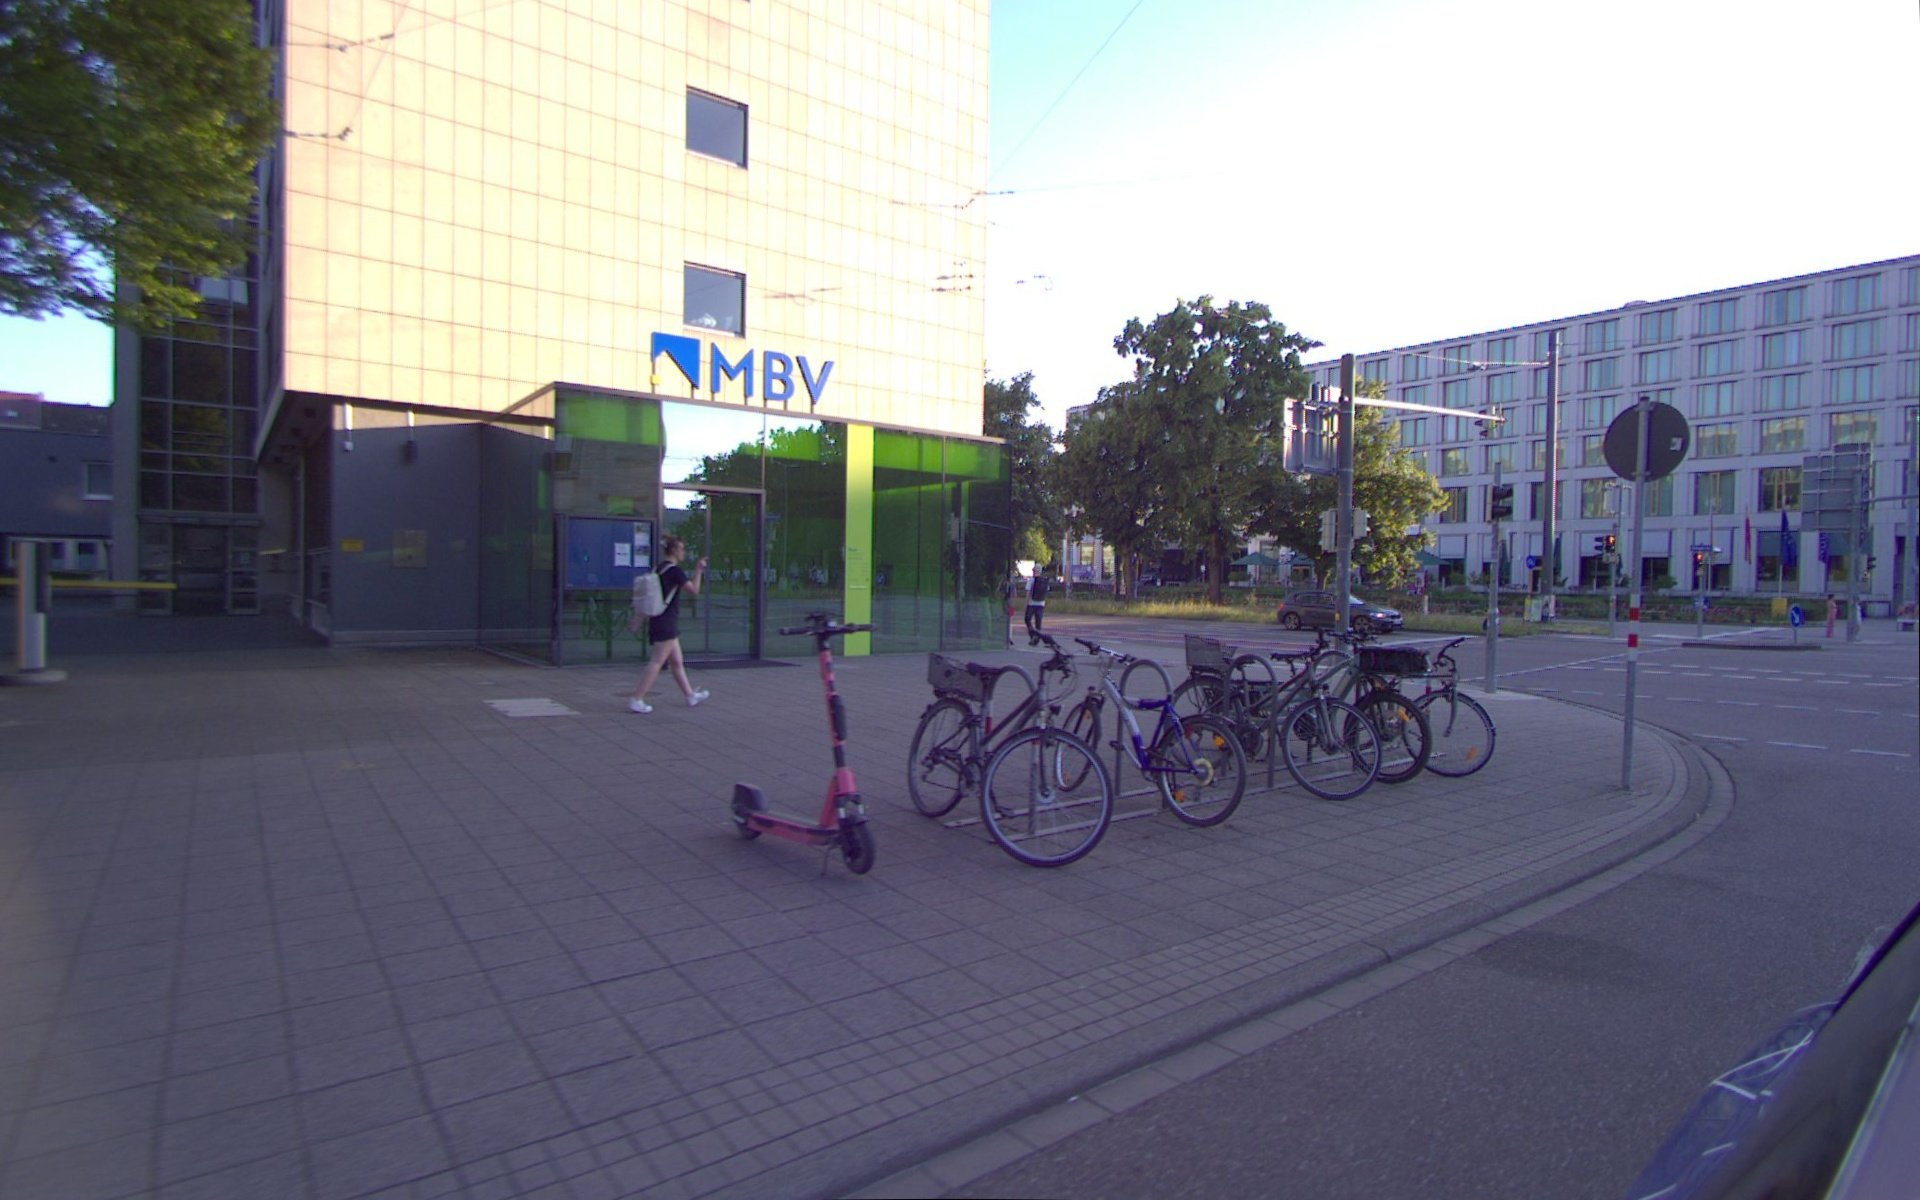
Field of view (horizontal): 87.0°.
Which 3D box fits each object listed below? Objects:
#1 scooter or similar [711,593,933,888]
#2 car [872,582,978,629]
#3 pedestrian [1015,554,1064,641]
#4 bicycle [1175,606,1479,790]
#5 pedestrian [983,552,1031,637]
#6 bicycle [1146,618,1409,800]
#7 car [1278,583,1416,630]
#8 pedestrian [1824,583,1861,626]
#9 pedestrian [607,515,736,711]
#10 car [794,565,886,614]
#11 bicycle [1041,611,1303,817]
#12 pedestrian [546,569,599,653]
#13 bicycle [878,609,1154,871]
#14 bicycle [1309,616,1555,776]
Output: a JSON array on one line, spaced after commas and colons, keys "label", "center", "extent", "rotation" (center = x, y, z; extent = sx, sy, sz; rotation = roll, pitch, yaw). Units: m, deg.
[{"label": "scooter or similar", "center": [-0.733, 0.617, 5.117], "extent": [0.580, 1.240, 1.204], "rotation": [0, 3, -37]}, {"label": "car", "center": [-1.244, 0.135, 34.437], "extent": [1.667, 1.428, 3.867], "rotation": [-1, 2, -37]}, {"label": "pedestrian", "center": [1.678, -0.064, 21.392], "extent": [0.721, 1.790, 0.708], "rotation": [0, 1, -37]}, {"label": "bicycle", "center": [2.825, 0.681, 8.087], "extent": [0.730, 1.146, 2.238], "rotation": [0, 3, -35]}, {"label": "pedestrian", "center": [1.003, -0.125, 21.817], "extent": [0.733, 1.790, 0.708], "rotation": [0, 1, -37]}, {"label": "bicycle", "center": [2.270, 0.716, 7.444], "extent": [0.730, 1.088, 1.761], "rotation": [0, 1, -35]}, {"label": "car", "center": [13.140, 0.176, 34.587], "extent": [1.666, 1.438, 4.174], "rotation": [0, 2, -35]}, {"label": "pedestrian", "center": [34.003, 0.163, 39.004], "extent": [0.711, 1.646, 0.739], "rotation": [1, 1, -5]}, {"label": "pedestrian", "center": [-2.796, 0.100, 9.848], "extent": [0.705, 1.790, 0.976], "rotation": [1, 1, 37]}, {"label": "car", "center": [-4.637, -0.439, 38.721], "extent": [1.667, 1.686, 3.867], "rotation": [4, -1, -37]}, {"label": "bicycle", "center": [1.307, 0.645, 6.502], "extent": [0.730, 1.088, 1.556], "rotation": [0, 1, -35]}, {"label": "pedestrian", "center": [-5.794, 0.156, 15.125], "extent": [0.604, 1.223, 0.543], "rotation": [0, 1, -37]}, {"label": "bicycle", "center": [0.255, 0.671, 5.617], "extent": [0.730, 1.177, 1.531], "rotation": [0, 1, -35]}, {"label": "bicycle", "center": [3.822, 0.720, 8.398], "extent": [0.728, 1.088, 1.870], "rotation": [0, 1, -20]}]
